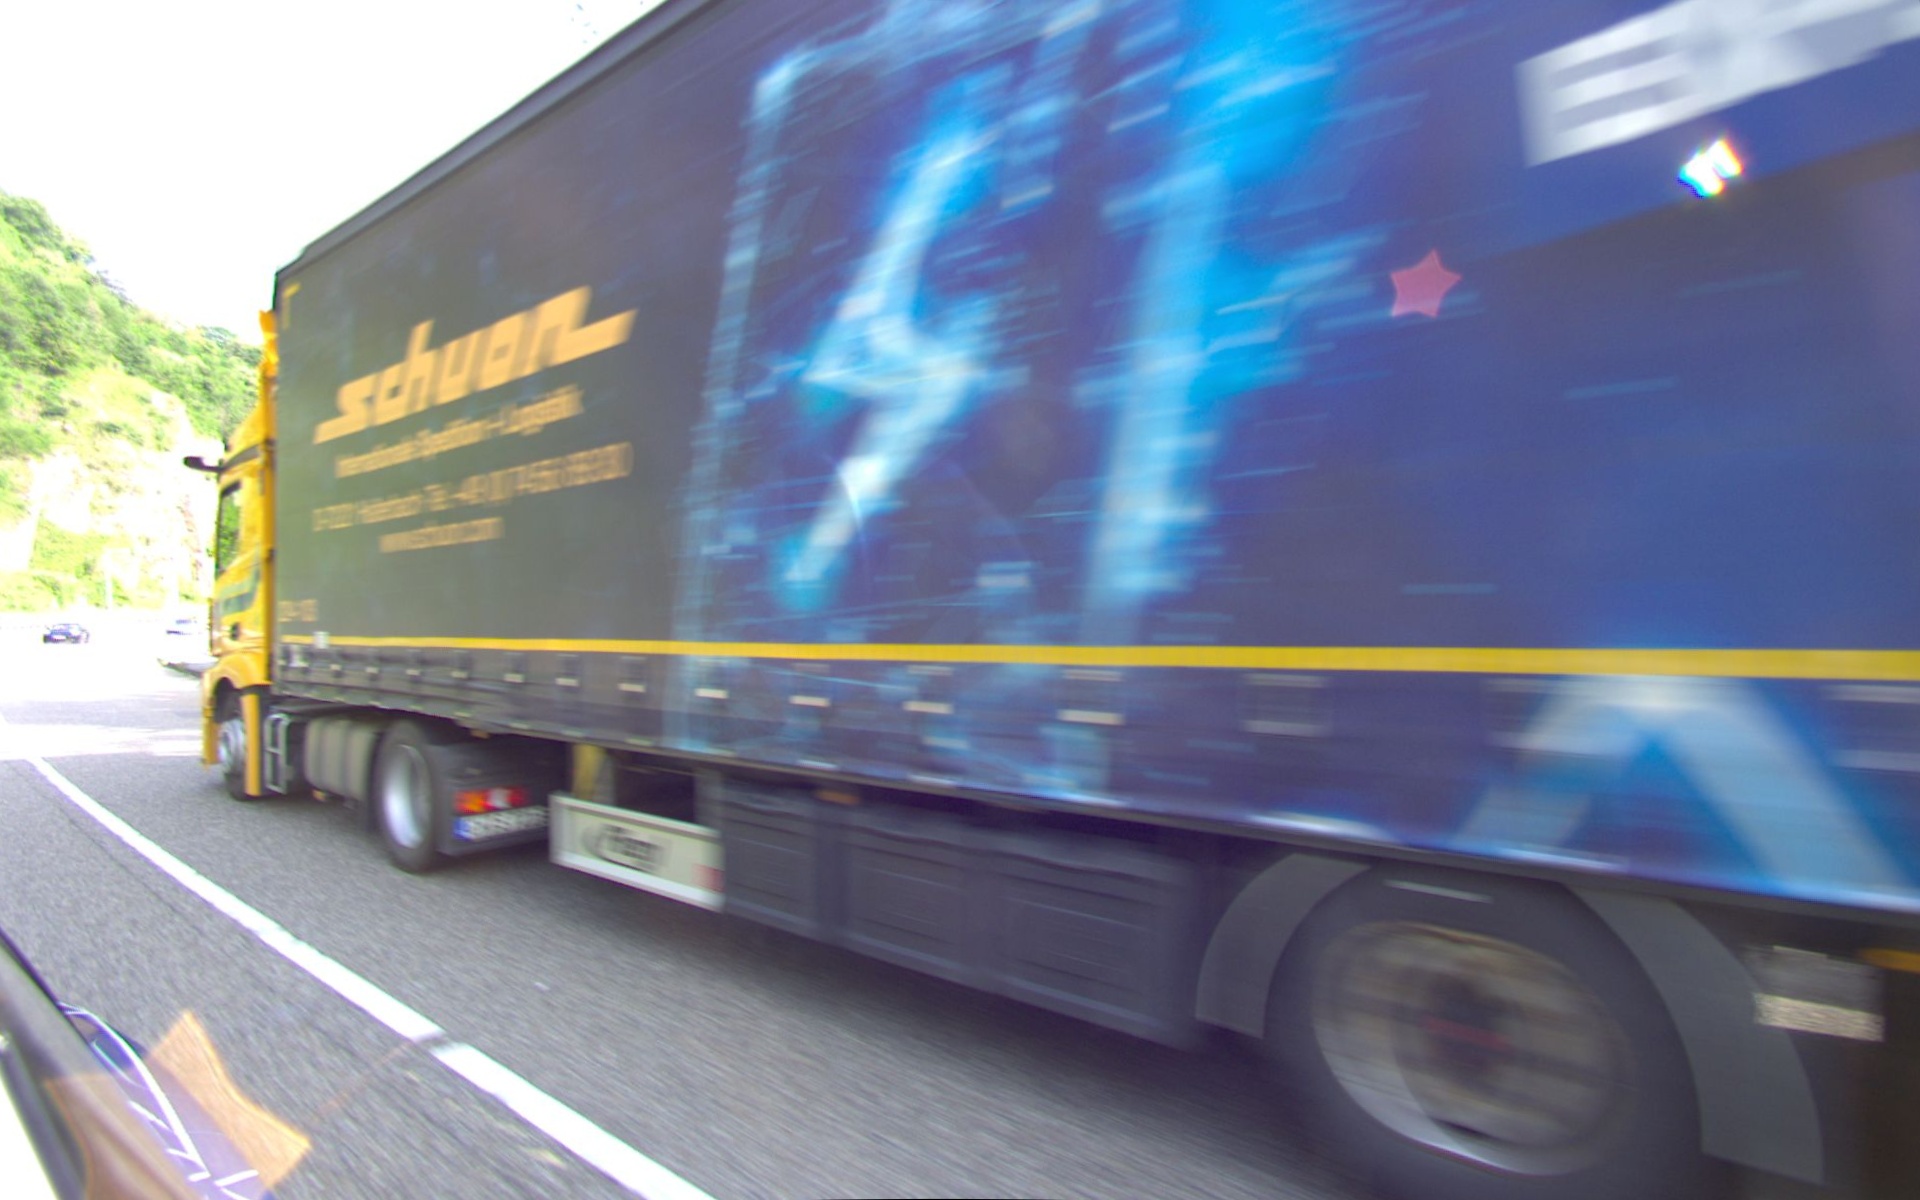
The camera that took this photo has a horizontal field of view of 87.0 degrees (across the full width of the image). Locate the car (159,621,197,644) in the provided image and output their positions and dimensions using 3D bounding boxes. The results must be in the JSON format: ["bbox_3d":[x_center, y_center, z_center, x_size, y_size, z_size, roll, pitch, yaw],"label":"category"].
[{"bbox_3d":[-70.864,2.942,91.750,1.965,2.029,4.013,0,-1,-26],"label":"car"}]

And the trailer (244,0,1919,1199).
[{"bbox_3d":[1.211,-0.640,3.570,13.661,4.043,2.827,-1,-2,41],"label":"trailer"}]

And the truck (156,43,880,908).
[{"bbox_3d":[-3.815,-0.522,7.883,6.409,4.059,2.712,-1,-2,41],"label":"truck"}]

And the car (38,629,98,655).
[{"bbox_3d":[-54.823,2.552,62.277,1.966,1.506,4.233,1,-2,-31],"label":"car"}]
